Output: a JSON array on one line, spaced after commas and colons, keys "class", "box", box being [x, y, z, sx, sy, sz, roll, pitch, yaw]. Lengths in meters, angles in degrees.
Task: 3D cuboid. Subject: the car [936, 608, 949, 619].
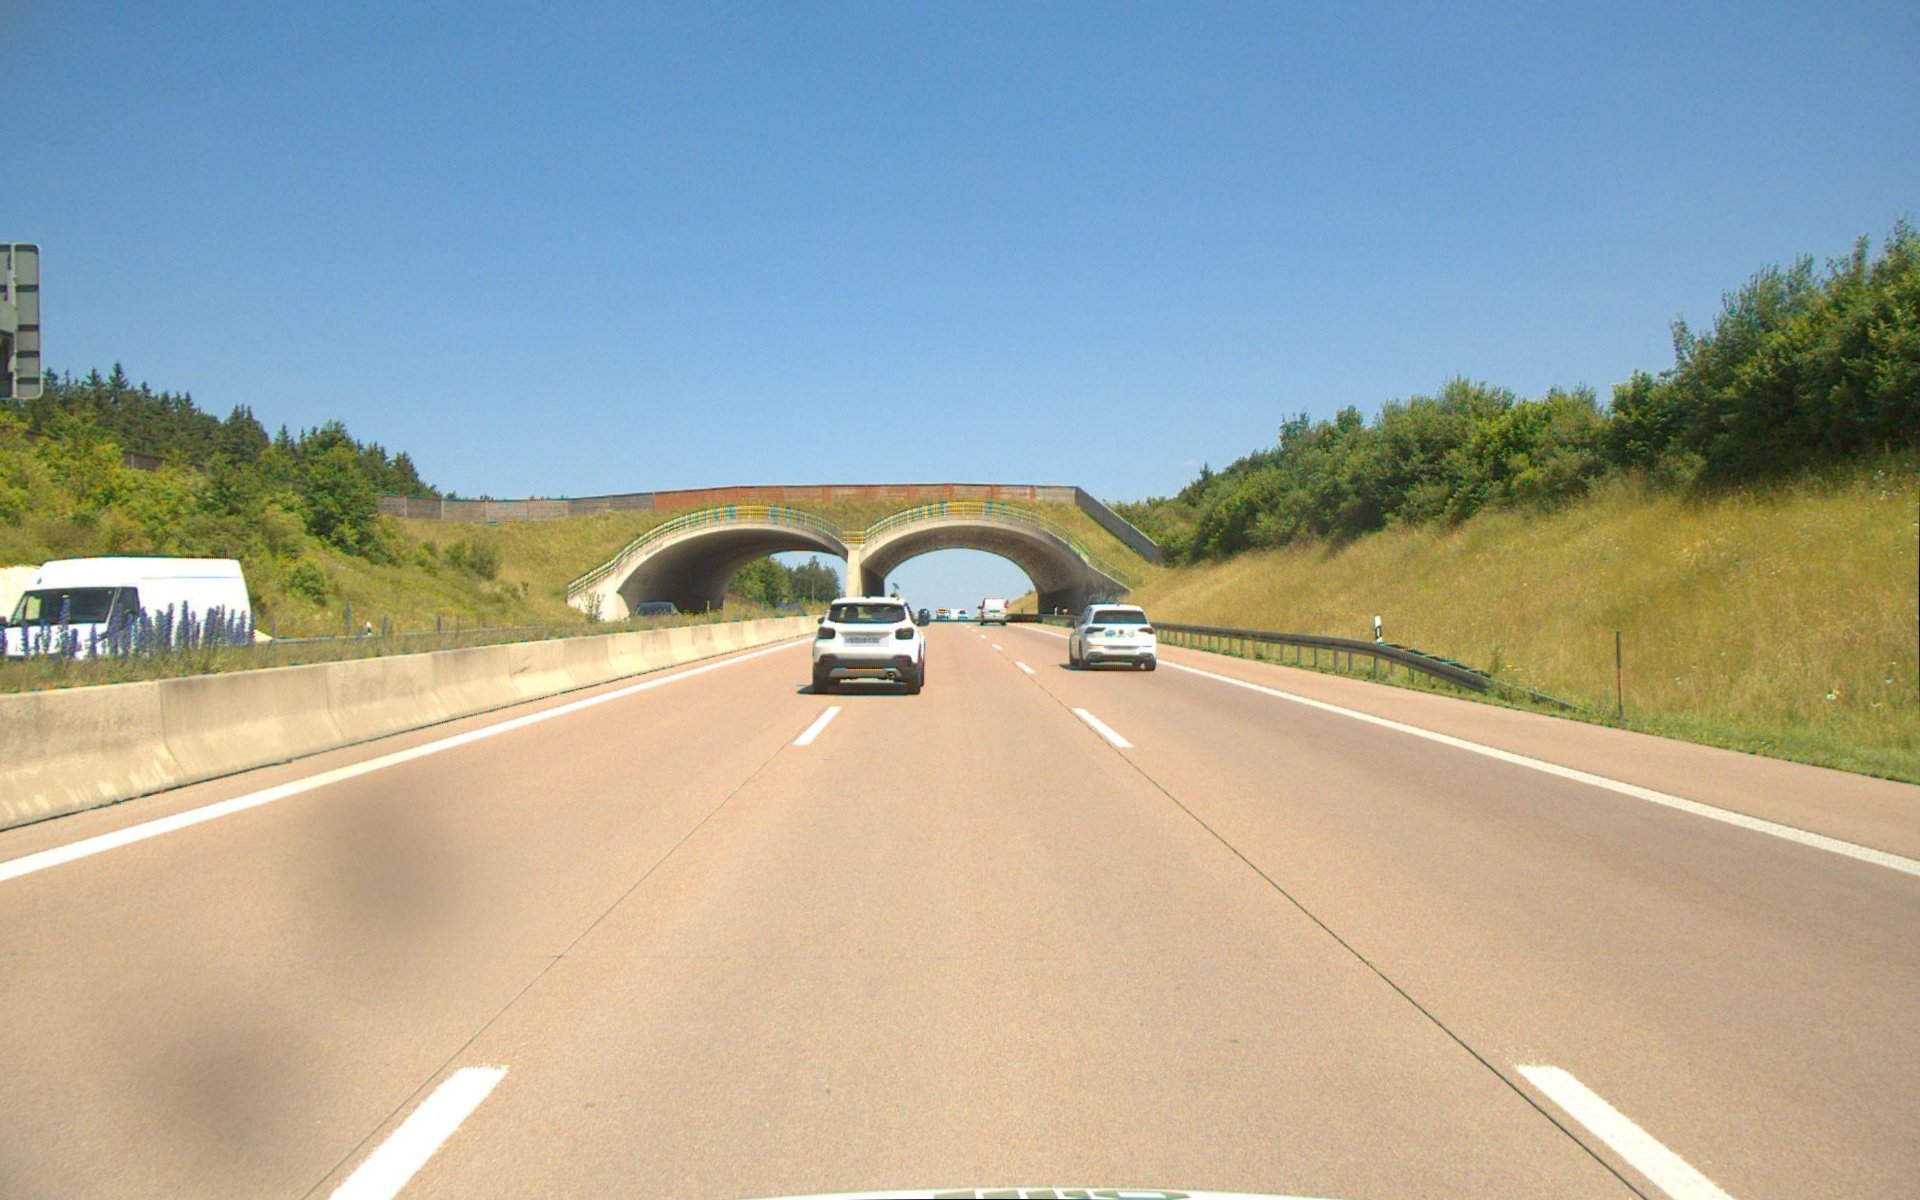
[{"class": "car", "box": [-2.541, 2.043, 245.440, 1.852, 1.489, 4.000, 1, 1, -1]}]

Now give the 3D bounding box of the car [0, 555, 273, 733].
[{"class": "car", "box": [-16.023, 0.668, 32.033, 2.360, 3.021, 7.501, 0, 1, -1]}]

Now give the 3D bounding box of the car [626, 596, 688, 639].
[{"class": "car", "box": [-12.618, 0.694, 69.112, 1.853, 1.621, 4.976, 1, 1, -2]}]

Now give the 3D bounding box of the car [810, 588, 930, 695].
[{"class": "car", "box": [-1.450, 0.626, 28.149, 1.841, 1.635, 4.833, 0, 1, -1]}]

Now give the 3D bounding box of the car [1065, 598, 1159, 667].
[{"class": "car", "box": [3.457, 0.710, 38.163, 1.852, 1.422, 4.001, 1, 1, 1]}]

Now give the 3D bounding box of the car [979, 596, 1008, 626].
[{"class": "car", "box": [2.427, 0.798, 120.498, 2.067, 2.089, 4.001, 0, 1, 1]}]
